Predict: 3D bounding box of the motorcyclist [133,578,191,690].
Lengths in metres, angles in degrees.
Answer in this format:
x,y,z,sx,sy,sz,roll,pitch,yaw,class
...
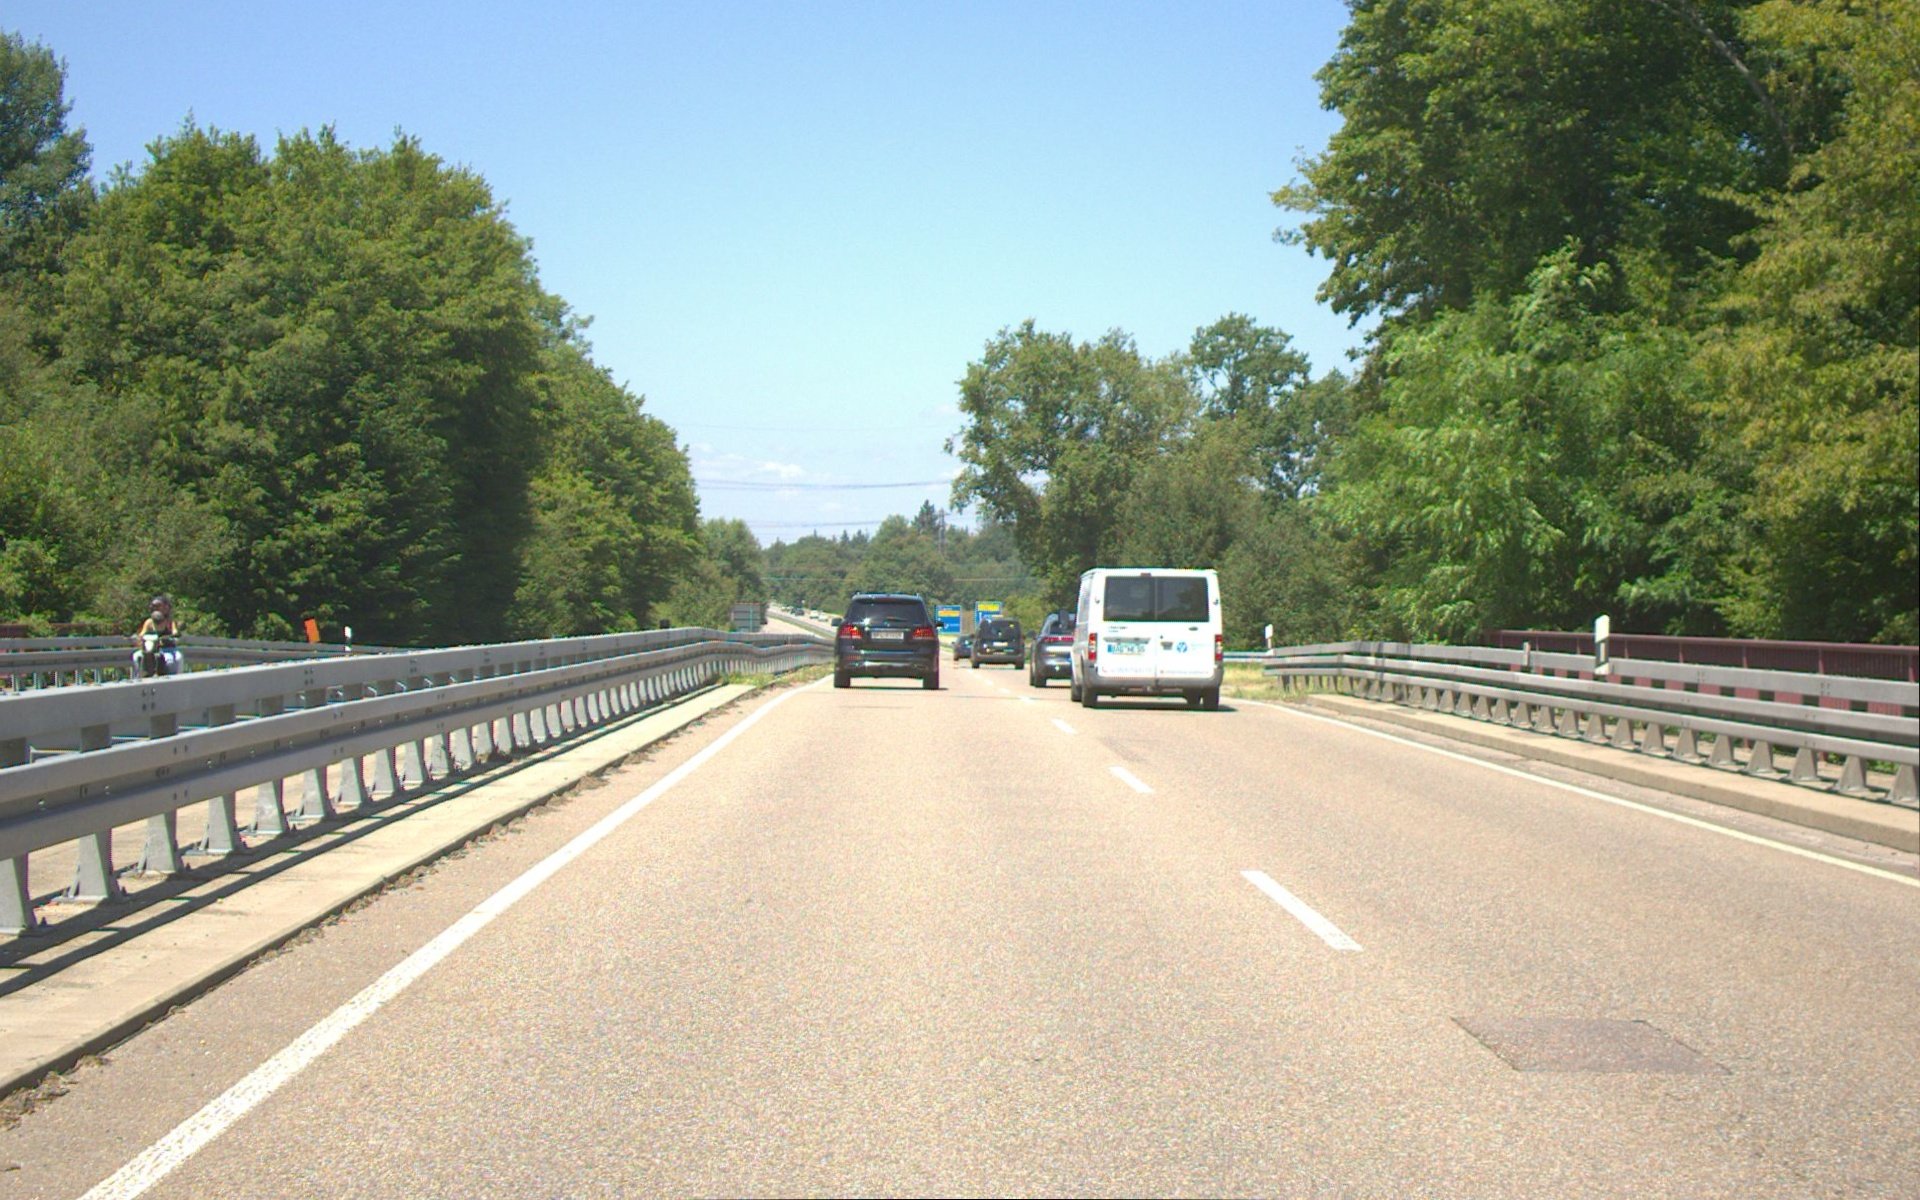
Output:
x,y,z,sx,sy,sz,roll,pitch,yaw,class
-11.064,0.468,47.666,0.615,1.535,0.776,1,0,0,motorcyclist

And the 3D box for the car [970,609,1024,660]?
x,y,z,sx,sy,sz,roll,pitch,yaw,class
1.316,1.230,123.526,1.779,1.811,4.213,0,0,-1,car

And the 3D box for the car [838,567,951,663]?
x,y,z,sx,sy,sz,roll,pitch,yaw,class
-1.250,0.308,63.880,1.993,1.649,4.000,0,-2,-3,car

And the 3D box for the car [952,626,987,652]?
x,y,z,sx,sy,sz,roll,pitch,yaw,class
0.511,2.150,189.797,1.819,1.409,4.000,-1,0,-2,car

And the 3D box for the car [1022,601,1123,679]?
x,y,z,sx,sy,sz,roll,pitch,yaw,class
2.295,0.813,70.844,1.785,1.548,4.019,1,0,-2,car

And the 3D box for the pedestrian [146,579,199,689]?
x,y,z,sx,sy,sz,roll,pitch,yaw,class
-11.070,0.472,48.311,0.615,1.535,0.494,1,0,0,pedestrian

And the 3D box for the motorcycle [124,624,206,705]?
x,y,z,sx,sy,sz,roll,pitch,yaw,class
-11.074,0.887,47.960,0.615,1.100,2.313,1,0,0,motorcycle

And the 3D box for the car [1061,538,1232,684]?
x,y,z,sx,sy,sz,roll,pitch,yaw,class
2.650,0.215,50.007,2.005,1.982,5.034,1,-1,-2,car
